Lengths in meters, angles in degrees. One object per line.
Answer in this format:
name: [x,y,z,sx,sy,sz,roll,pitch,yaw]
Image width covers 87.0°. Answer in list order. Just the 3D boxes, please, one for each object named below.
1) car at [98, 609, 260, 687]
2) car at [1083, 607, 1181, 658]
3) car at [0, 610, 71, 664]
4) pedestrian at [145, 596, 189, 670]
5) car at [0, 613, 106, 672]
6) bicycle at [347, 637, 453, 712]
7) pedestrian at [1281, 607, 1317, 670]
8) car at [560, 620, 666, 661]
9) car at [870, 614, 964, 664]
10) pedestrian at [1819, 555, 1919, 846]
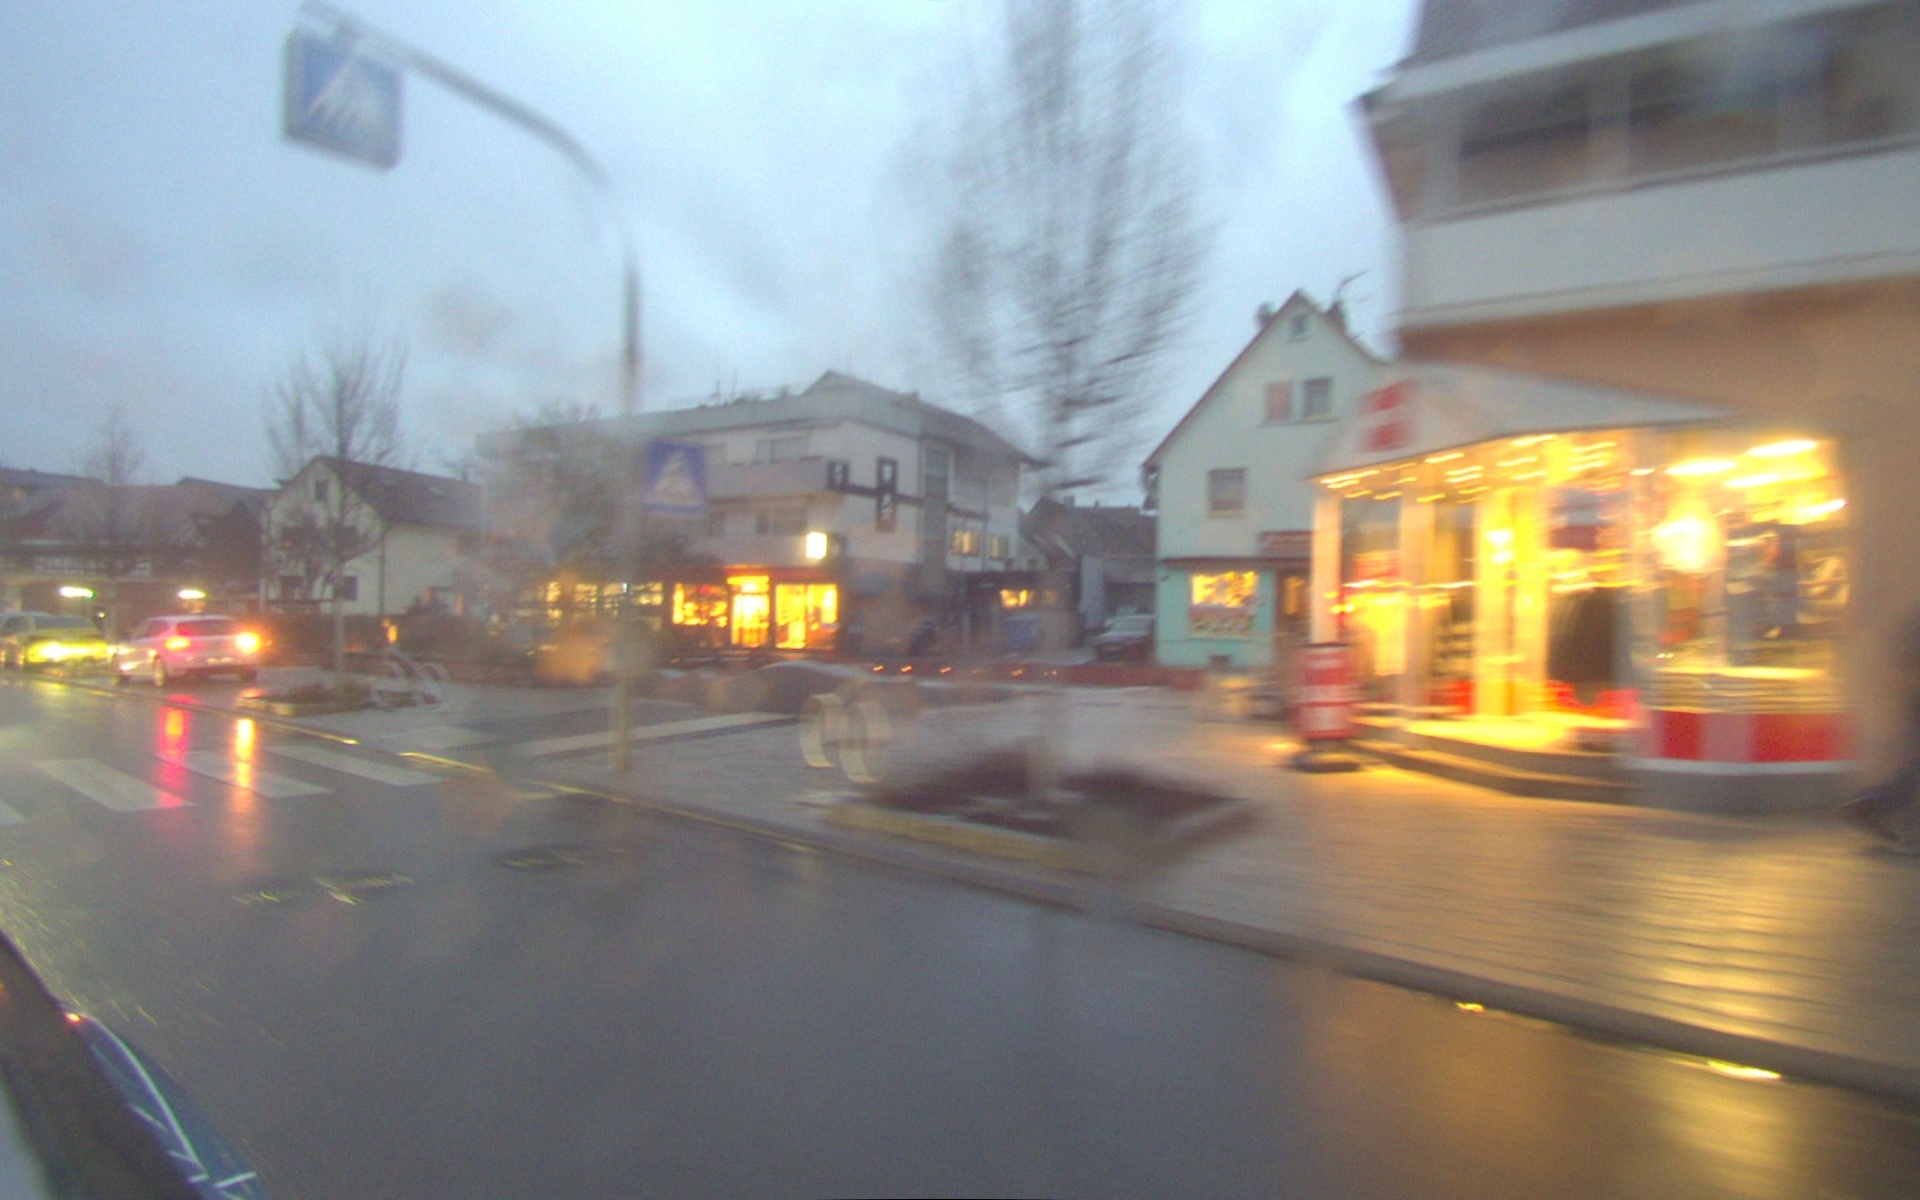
car: [-16.867,0.957,21.788,4.176,1.500,1.767,0,0,38]
car: [5.893,1.054,34.294,1.978,1.615,3.957,0,-1,32]
car: [-28.887,1.083,30.799,3.661,1.546,1.860,0,0,33]
pedestrian: [-22.284,0.921,28.436,0.890,2.029,0.791,1,-1,-44]
car: [-24.754,1.106,27.341,4.370,1.442,1.678,-1,0,38]
bicycle: [-8.312,1.108,15.003,1.733,1.070,0.322,-2,-6,23]
pedestrian: [9.494,1.070,28.340,0.836,1.729,0.911,0,-2,26]
car: [-14.165,1.642,41.277,3.984,1.576,1.980,0,-2,30]
car: [-1.649,1.532,40.032,1.990,1.858,3.962,0,-2,27]
pedestrian: [5.884,0.572,6.051,1.096,1.671,0.818,-1,0,39]
